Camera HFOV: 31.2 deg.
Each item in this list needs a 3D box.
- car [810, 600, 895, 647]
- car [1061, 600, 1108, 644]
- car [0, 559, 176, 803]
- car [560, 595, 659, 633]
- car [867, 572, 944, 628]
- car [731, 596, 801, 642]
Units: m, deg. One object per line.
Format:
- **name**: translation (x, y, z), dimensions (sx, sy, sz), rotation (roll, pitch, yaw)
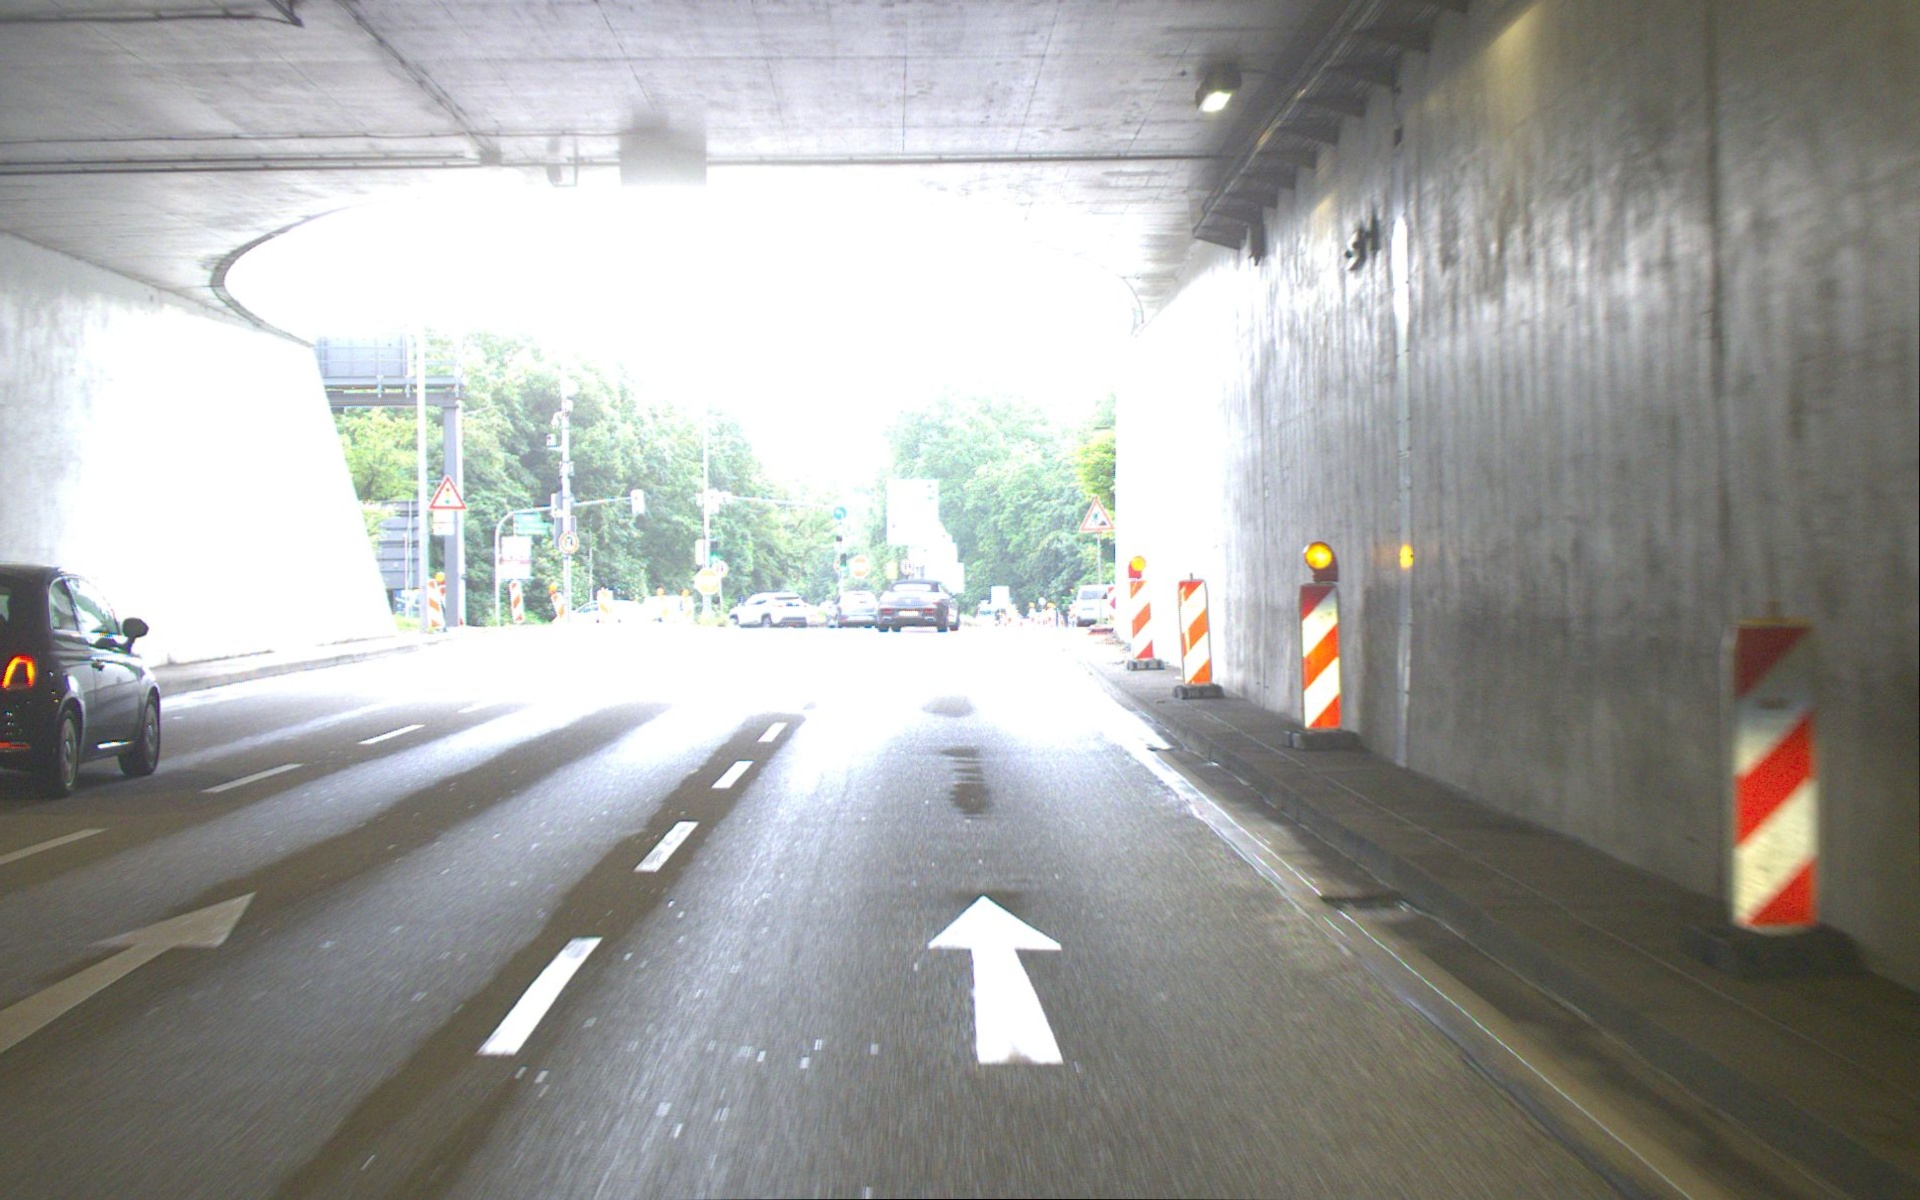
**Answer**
- **car**: translation (-4.046, 0.856, 128.589), dimensions (1.891, 1.678, 4.001), rotation (0, 1, -23)
- **car**: translation (5.848, 1.036, 162.080), dimensions (1.993, 2.007, 4.000), rotation (-1, 0, -1)
- **car**: translation (-6.327, 0.466, 22.582), dimensions (1.612, 1.449, 3.573), rotation (1, 1, -2)
- **car**: translation (-14.784, 0.600, 144.811), dimensions (3.996, 1.509, 1.893), rotation (0, 2, 41)
- **car**: translation (-1.475, 0.022, 92.042), dimensions (1.993, 1.443, 4.314), rotation (-1, 0, -1)
- **car**: translation (-7.747, 0.744, 136.778), dimensions (1.891, 1.678, 4.001), rotation (-2, 1, -16)
